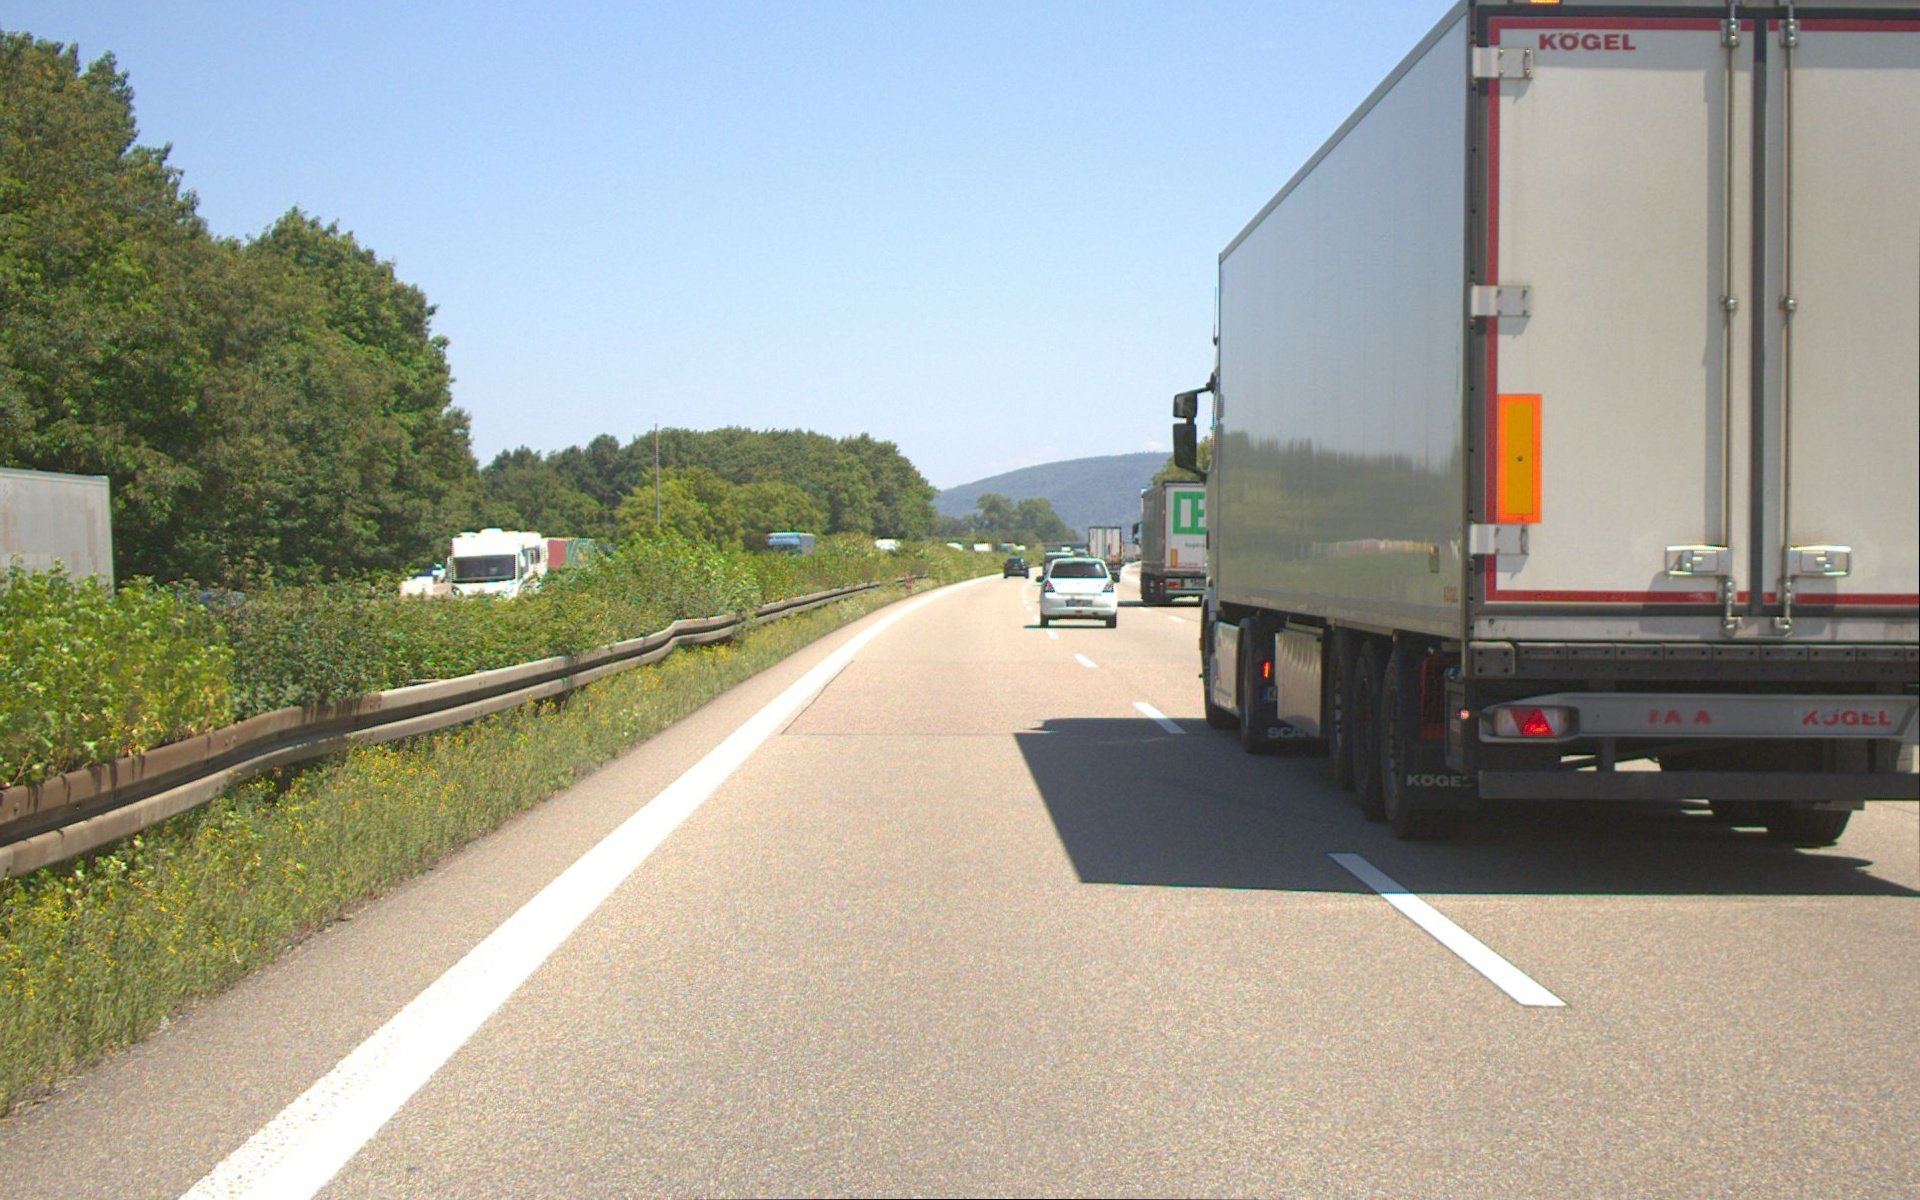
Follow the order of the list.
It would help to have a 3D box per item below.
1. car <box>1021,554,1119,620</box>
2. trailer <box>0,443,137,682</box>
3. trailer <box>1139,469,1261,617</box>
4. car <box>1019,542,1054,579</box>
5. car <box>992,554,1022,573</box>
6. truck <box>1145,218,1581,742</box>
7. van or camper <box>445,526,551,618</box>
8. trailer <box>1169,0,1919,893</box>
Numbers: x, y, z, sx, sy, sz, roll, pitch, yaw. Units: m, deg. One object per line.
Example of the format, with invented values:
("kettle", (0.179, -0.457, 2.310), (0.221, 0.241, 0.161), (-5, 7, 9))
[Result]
("car", (2.390, -0.296, 75.581), (1.811, 1.400, 3.318), (0, 1, -4))
("trailer", (-17.024, -0.637, 58.497), (2.909, 3.864, 13.643), (0, 1, -1))
("trailer", (7.803, -1.864, 113.298), (3.182, 4.611, 12.050), (0, 1, 0))
("car", (4.313, -2.236, 194.329), (1.882, 2.007, 4.000), (-1, 1, 0))
("car", (3.514, -2.732, 257.528), (1.882, 1.344, 4.468), (0, 1, -4))
("truck", (3.328, -0.990, 29.614), (3.229, 4.143, 4.560), (0, 1, 0))
("van or camper", (-16.166, -1.013, 120.775), (2.420, 3.101, 9.087), (-1, 1, 0))
("trailer", (3.289, -0.844, 21.838), (3.223, 4.129, 12.352), (0, 1, 0))
